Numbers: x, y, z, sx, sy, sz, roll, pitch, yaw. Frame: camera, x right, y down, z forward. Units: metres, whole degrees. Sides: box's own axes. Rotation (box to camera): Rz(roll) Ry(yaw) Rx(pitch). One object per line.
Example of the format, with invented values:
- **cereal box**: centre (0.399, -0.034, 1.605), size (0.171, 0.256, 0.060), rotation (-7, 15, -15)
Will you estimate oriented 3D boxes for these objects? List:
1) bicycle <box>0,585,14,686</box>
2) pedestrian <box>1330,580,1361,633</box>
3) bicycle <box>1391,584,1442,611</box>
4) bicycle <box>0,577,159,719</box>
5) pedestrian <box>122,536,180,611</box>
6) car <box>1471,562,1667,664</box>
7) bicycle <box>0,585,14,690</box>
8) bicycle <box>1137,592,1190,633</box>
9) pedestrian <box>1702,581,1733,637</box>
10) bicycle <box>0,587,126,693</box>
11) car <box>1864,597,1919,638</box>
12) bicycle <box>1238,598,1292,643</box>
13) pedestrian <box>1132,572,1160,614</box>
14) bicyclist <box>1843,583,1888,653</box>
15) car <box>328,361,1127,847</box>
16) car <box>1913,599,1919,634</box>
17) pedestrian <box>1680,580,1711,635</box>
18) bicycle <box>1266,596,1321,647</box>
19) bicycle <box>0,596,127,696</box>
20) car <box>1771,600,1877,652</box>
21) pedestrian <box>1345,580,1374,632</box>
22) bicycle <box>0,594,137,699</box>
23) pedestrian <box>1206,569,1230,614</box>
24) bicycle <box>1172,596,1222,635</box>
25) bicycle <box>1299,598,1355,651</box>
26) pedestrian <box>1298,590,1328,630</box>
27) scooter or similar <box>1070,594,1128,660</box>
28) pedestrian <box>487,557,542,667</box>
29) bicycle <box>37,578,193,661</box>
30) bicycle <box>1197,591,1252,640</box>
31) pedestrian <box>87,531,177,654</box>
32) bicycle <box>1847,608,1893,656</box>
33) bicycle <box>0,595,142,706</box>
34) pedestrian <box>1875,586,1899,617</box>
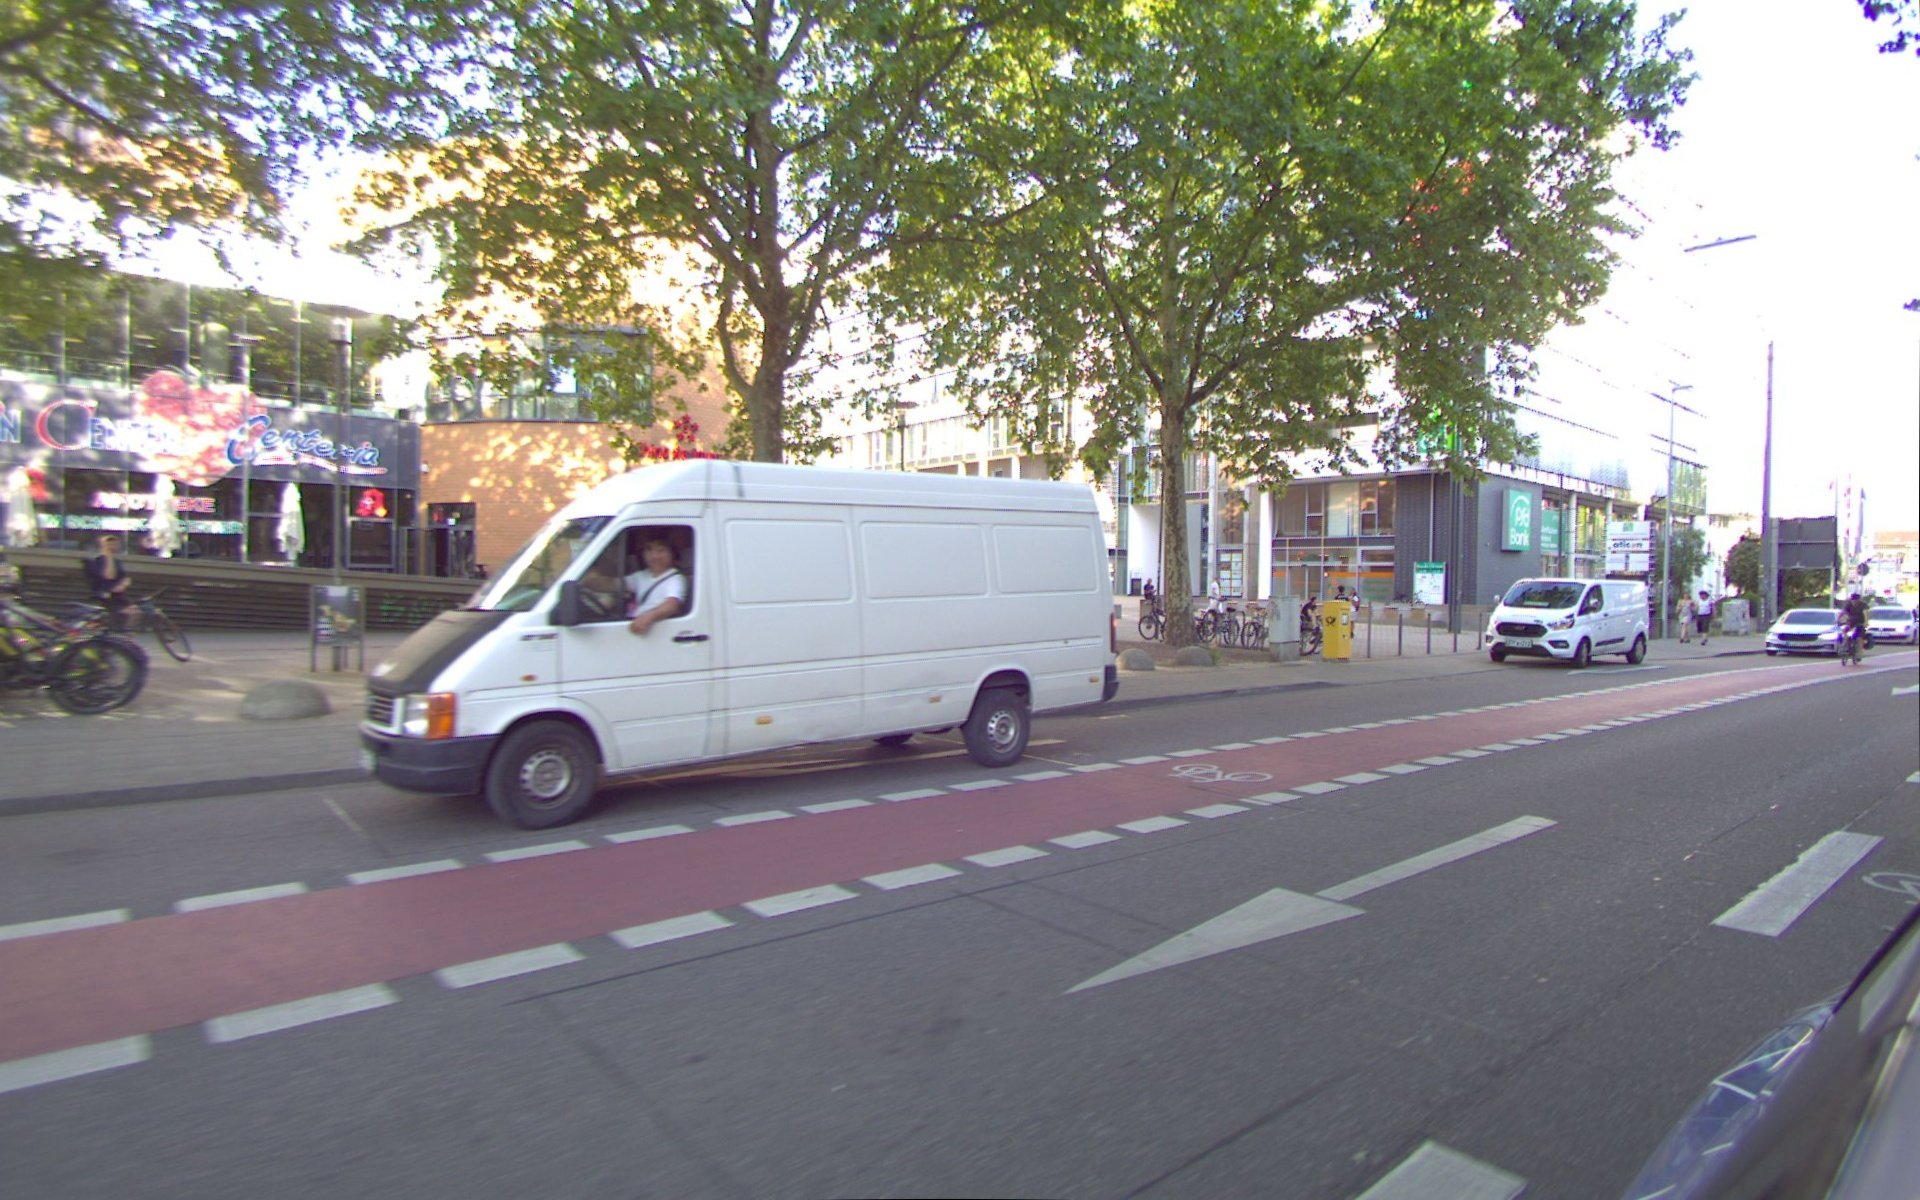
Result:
- **bicycle**: centre (-11.956, 0.414, 11.538), size (1.663, 1.174, 0.479), rotation (0, 1, -38)
- **pedestrian**: centre (11.566, 0.189, 30.342), size (0.625, 1.562, 0.579), rotation (1, 1, -33)
- **bicycle**: centre (19.766, -0.127, 43.839), size (0.688, 1.076, 1.879), rotation (0, 2, -40)
- **bicycle**: centre (-8.781, 0.433, 9.581), size (1.844, 1.280, 0.596), rotation (0, 1, -43)
- **pedestrian**: centre (-20.717, -0.674, 25.938), size (0.834, 1.867, 1.002), rotation (1, 1, -17)
- **car**: centre (14.379, 0.244, 23.771), size (5.191, 2.160, 2.130), rotation (0, 2, -37)
- **bicycle**: centre (-11.609, 0.425, 11.167), size (1.663, 1.174, 0.479), rotation (0, 1, -38)
- **bicycle**: centre (5.544, 0.334, 27.514), size (1.480, 1.091, 0.461), rotation (0, 1, -31)
- **pedestrian**: centre (25.016, 0.287, 33.421), size (0.875, 1.831, 0.564), rotation (0, 2, -39)
- **bicycle**: centre (-10.518, 0.435, 11.460), size (1.627, 1.151, 0.502), rotation (0, 1, -43)
- **car**: centre (36.500, 0.653, 39.046), size (3.796, 1.482, 1.672), rotation (0, 2, -36)
- **bicycle**: centre (7.413, 0.483, 24.569), size (1.599, 1.042, 0.460), rotation (0, 1, -41)
- **pedestrian**: centre (6.528, -0.252, 35.529), size (0.590, 1.474, 0.712), rotation (0, 1, -39)
- **bicyclist**: centre (22.648, 0.427, 25.318), size (0.702, 1.709, 0.751), rotation (0, 1, -43)
- **car**: centre (-1.460, 0.010, 8.603), size (6.445, 2.759, 1.997), rotation (0, 0, -40)
- **car**: centre (46.101, 0.771, 47.128), size (3.929, 1.616, 1.998), rotation (0, 1, -40)
- **pedestrian**: centre (24.651, 0.242, 33.934), size (0.879, 1.831, 0.591), rotation (0, 2, -39)
- **bicycle**: centre (7.888, 0.492, 23.933), size (1.512, 1.173, 0.513), rotation (0, 1, -41)
- **bicycle**: centre (-10.134, 0.482, 11.019), size (1.627, 1.044, 0.502), rotation (0, 1, -43)
- **car**: centre (26.357, 0.737, 30.837), size (3.950, 1.437, 1.785), rotation (0, 2, -40)
- **pedestrian**: centre (12.151, 0.180, 30.766), size (0.623, 1.541, 0.517), rotation (1, 1, -33)
- **bicycle**: centre (-9.682, 0.468, 10.588), size (1.627, 1.044, 0.596), rotation (0, 2, -43)
- **pedestrian**: centre (9.995, -0.334, 39.224), size (0.710, 1.697, 0.539), rotation (0, 1, -40)
- **bicycle**: centre (6.144, 0.388, 26.225), size (1.484, 0.971, 0.460), rotation (0, 2, -41)
- **bicycle**: centre (8.461, 0.552, 23.300), size (1.512, 1.173, 0.513), rotation (0, 1, -41)
- **pedestrian**: centre (11.048, 0.301, 31.676), size (0.664, 1.236, 0.615), rotation (0, 1, -36)
- **scooter or similar**: centre (2.740, 0.520, 20.049), size (0.403, 1.239, 1.212), rotation (0, 1, -36)
- **pedestrian**: centre (-6.858, 0.168, 15.567), size (0.624, 1.651, 0.719), rotation (0, 1, -36)
- **bicycle**: centre (-12.576, 0.268, 15.130), size (1.736, 1.174, 0.578), rotation (0, 1, -36)
- **bicycle**: centre (6.737, 0.386, 25.735), size (1.688, 1.193, 0.460), rotation (0, 1, -41)
- **pedestrian**: centre (-12.411, -0.118, 15.204), size (1.000, 1.779, 0.789), rotation (0, 1, -37)
- **bicycle**: centre (22.710, 0.779, 25.246), size (2.089, 1.135, 0.550), rotation (0, 1, -41)
- **bicycle**: centre (-9.223, 0.484, 10.092), size (1.627, 1.044, 0.596), rotation (0, 2, -43)
- **pedestrian**: centre (49.824, 0.072, 54.392), size (0.895, 1.594, 0.753), rotation (0, 1, -37)
